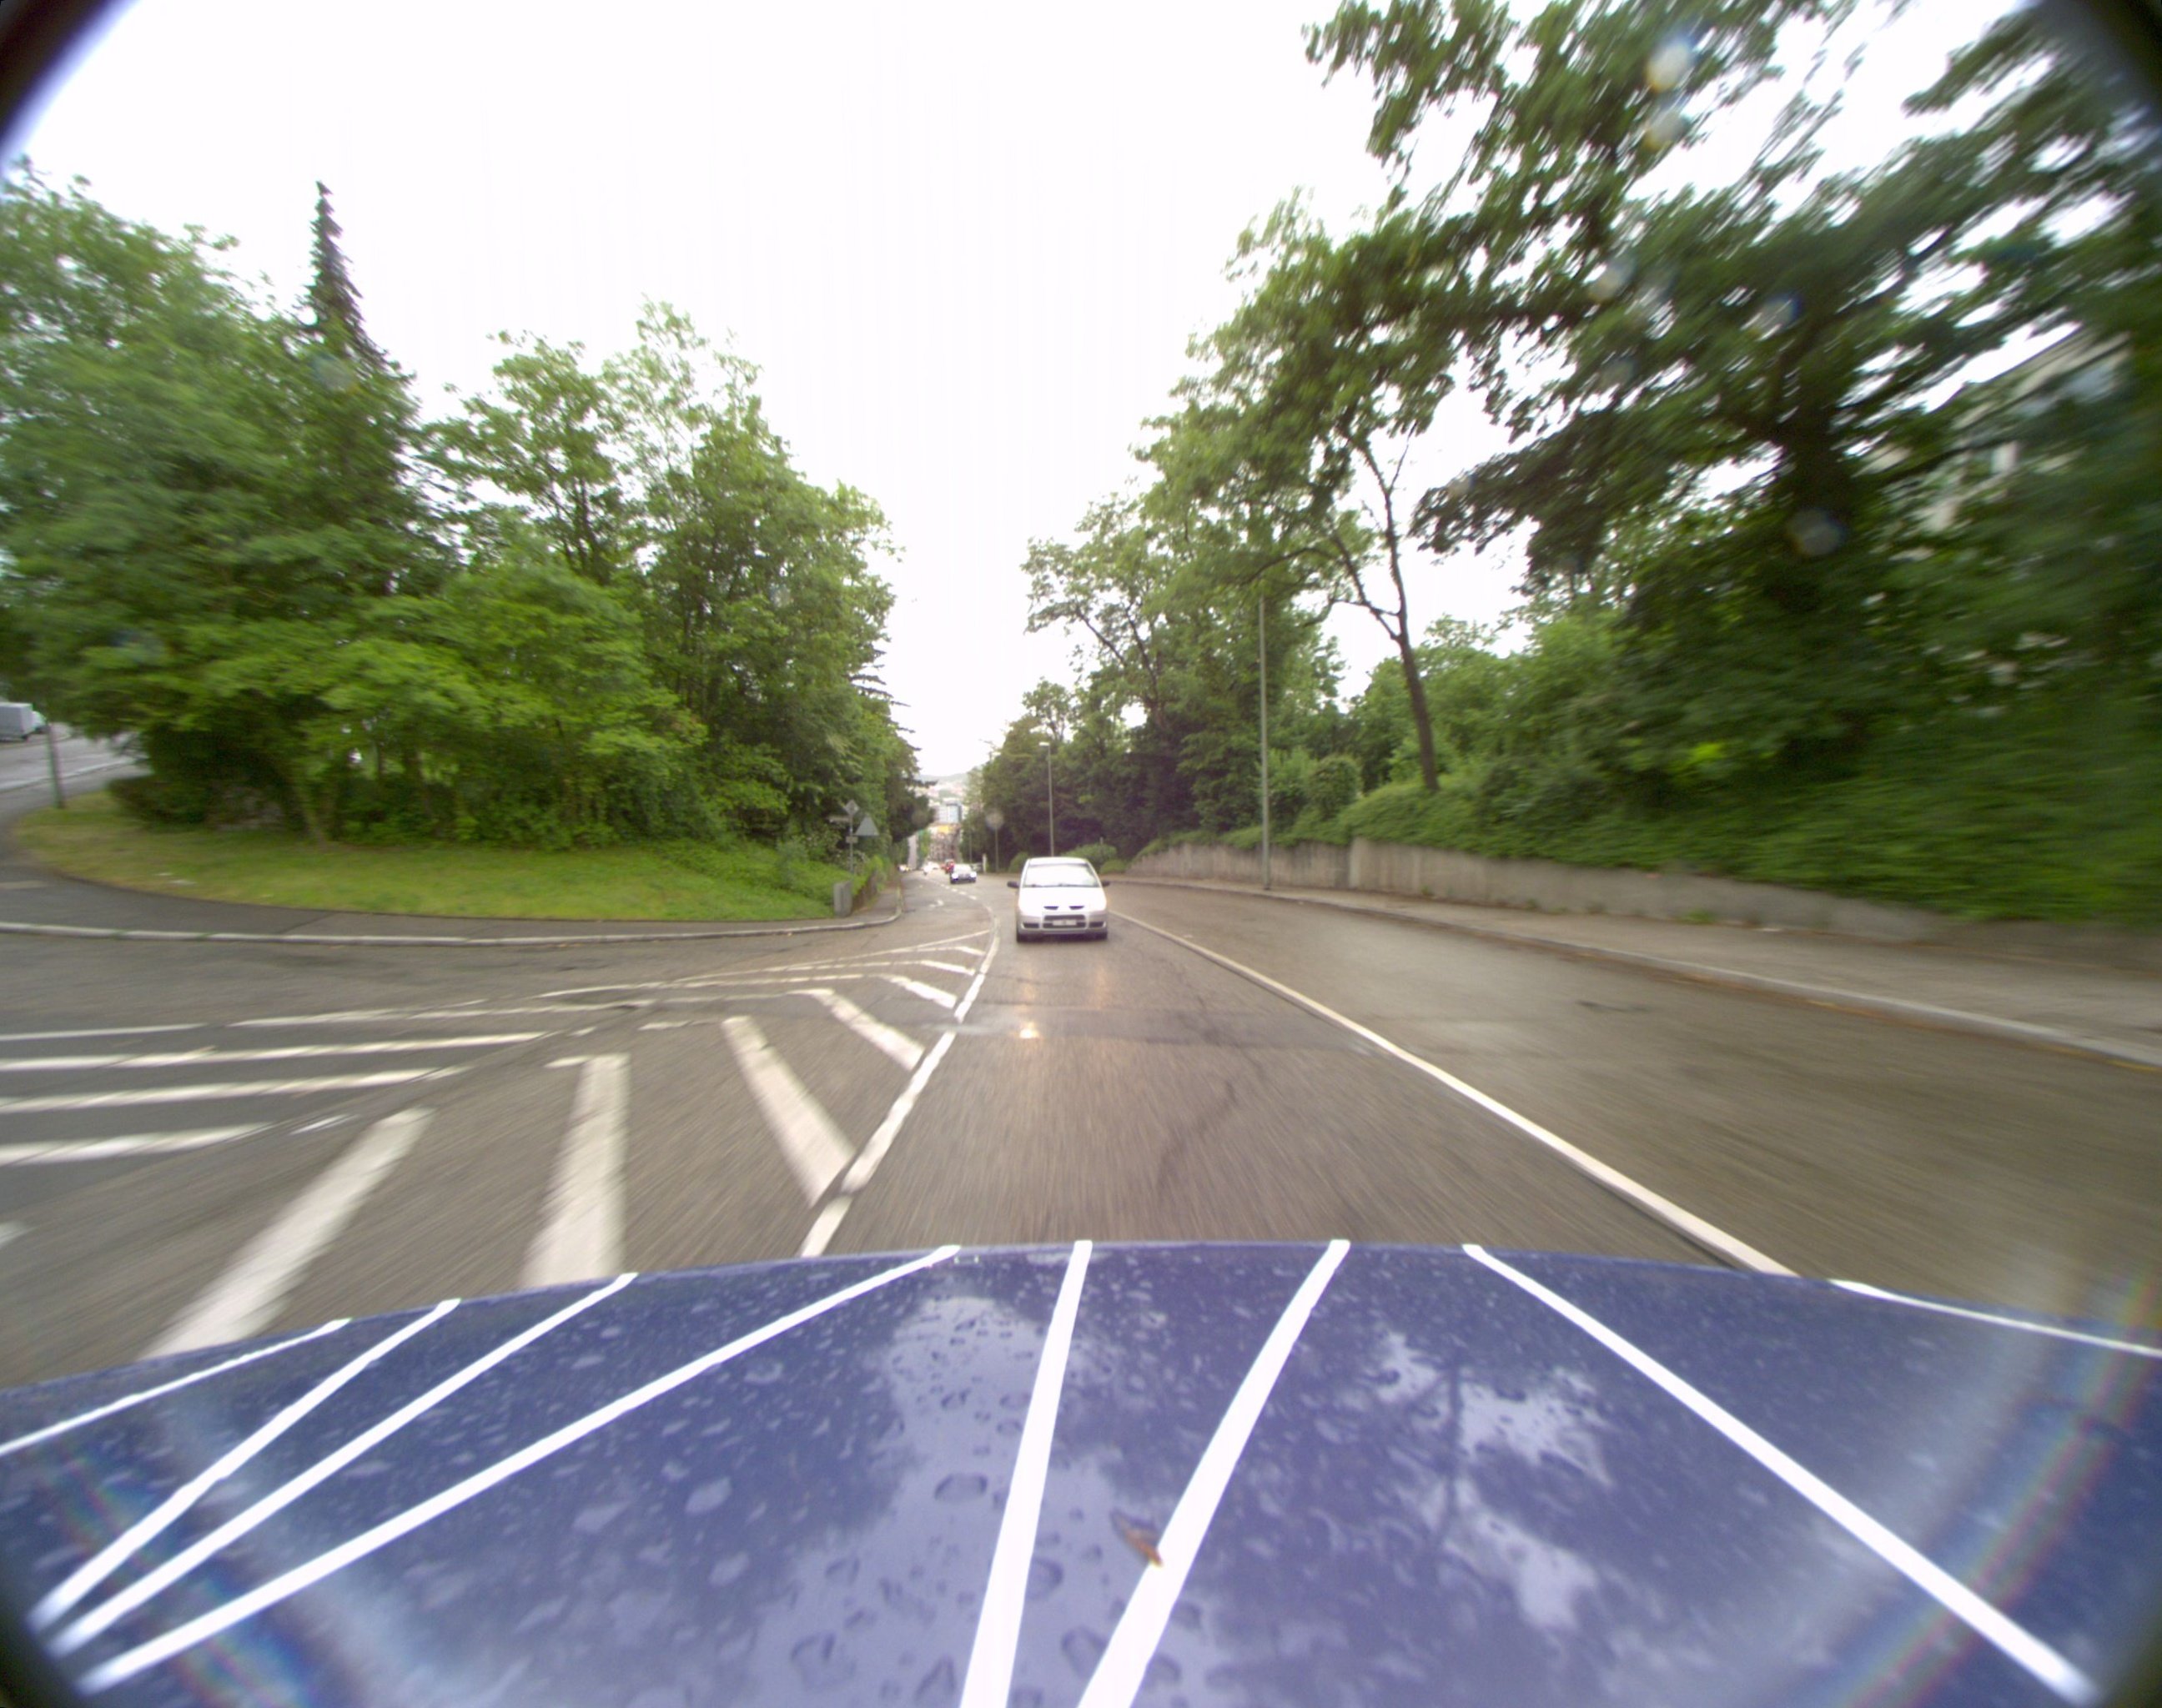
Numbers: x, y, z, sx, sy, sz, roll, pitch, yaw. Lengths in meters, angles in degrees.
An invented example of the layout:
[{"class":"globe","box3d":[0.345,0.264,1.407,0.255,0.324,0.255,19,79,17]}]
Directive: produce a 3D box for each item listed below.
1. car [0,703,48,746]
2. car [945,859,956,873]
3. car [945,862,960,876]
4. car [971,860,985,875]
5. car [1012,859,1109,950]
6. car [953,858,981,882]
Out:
[{"class":"car","box3d":[-65.075,-7.902,46.468,3.879,2.002,1.713,0,1,43]},{"class":"car","box3d":[-20.575,1.842,119.694,1.509,2.002,3.996,-2,1,-9]},{"class":"car","box3d":[-18.213,2.045,107.579,2.000,1.805,3.996,-2,1,-11]},{"class":"car","box3d":[-16.731,2.104,123.159,2.000,2.242,3.996,-2,1,-11]},{"class":"car","box3d":[-0.432,0.888,15.161,1.640,1.496,3.999,-2,0,-2]},{"class":"car","box3d":[-8.975,1.210,59.556,2.037,1.691,3.996,-2,1,-10]}]
